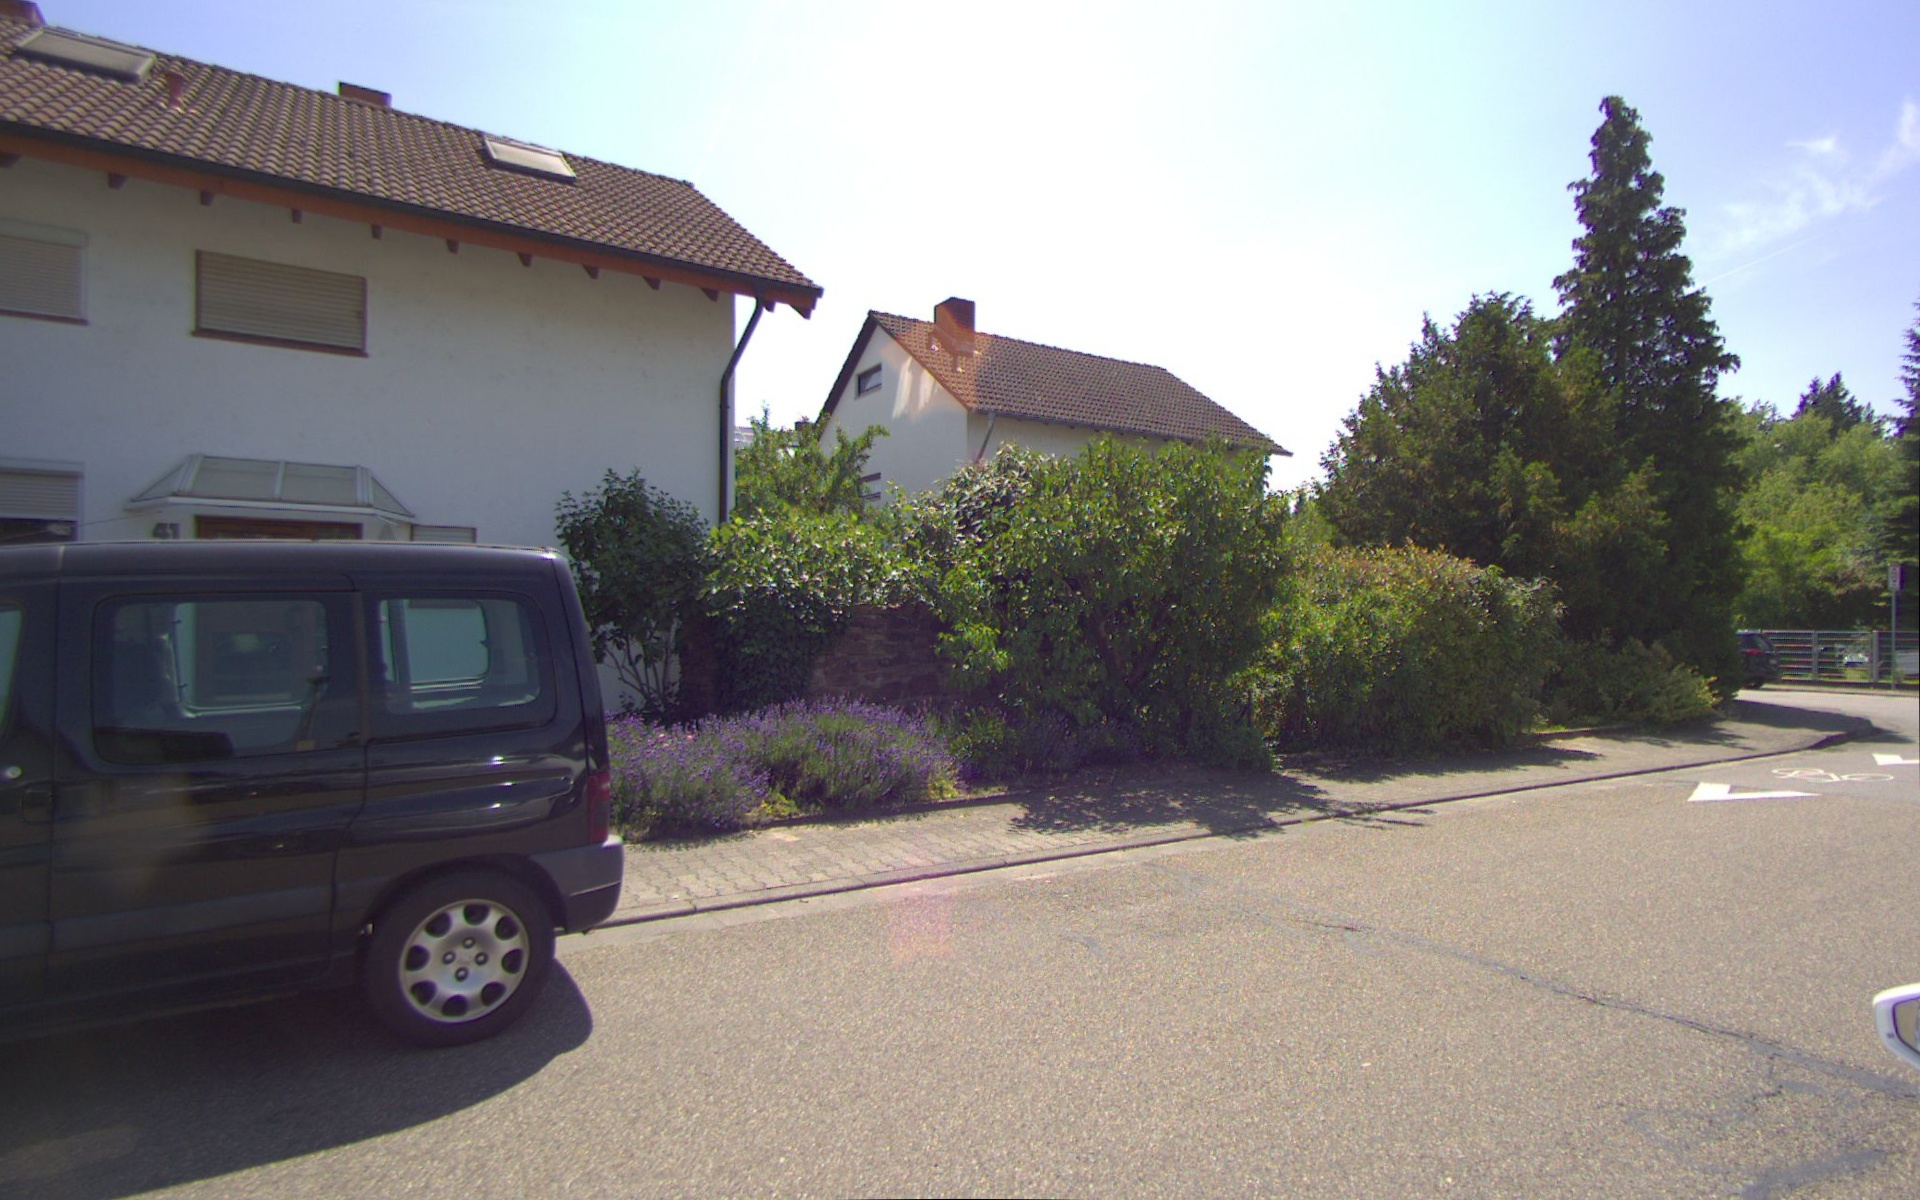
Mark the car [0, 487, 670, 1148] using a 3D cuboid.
[{"bbox_3d":[-3.267,0.623,3.506,4.011,1.870,1.708,1,-1,-33],"label":"car"}]

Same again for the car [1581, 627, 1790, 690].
[{"bbox_3d":[21.299,1.652,29.708,1.947,1.684,4.644,1,-1,-30],"label":"car"}]

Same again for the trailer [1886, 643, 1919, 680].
[{"bbox_3d":[29.613,1.877,30.411,1.097,1.098,2.197,1,-2,-39],"label":"trailer"}]
